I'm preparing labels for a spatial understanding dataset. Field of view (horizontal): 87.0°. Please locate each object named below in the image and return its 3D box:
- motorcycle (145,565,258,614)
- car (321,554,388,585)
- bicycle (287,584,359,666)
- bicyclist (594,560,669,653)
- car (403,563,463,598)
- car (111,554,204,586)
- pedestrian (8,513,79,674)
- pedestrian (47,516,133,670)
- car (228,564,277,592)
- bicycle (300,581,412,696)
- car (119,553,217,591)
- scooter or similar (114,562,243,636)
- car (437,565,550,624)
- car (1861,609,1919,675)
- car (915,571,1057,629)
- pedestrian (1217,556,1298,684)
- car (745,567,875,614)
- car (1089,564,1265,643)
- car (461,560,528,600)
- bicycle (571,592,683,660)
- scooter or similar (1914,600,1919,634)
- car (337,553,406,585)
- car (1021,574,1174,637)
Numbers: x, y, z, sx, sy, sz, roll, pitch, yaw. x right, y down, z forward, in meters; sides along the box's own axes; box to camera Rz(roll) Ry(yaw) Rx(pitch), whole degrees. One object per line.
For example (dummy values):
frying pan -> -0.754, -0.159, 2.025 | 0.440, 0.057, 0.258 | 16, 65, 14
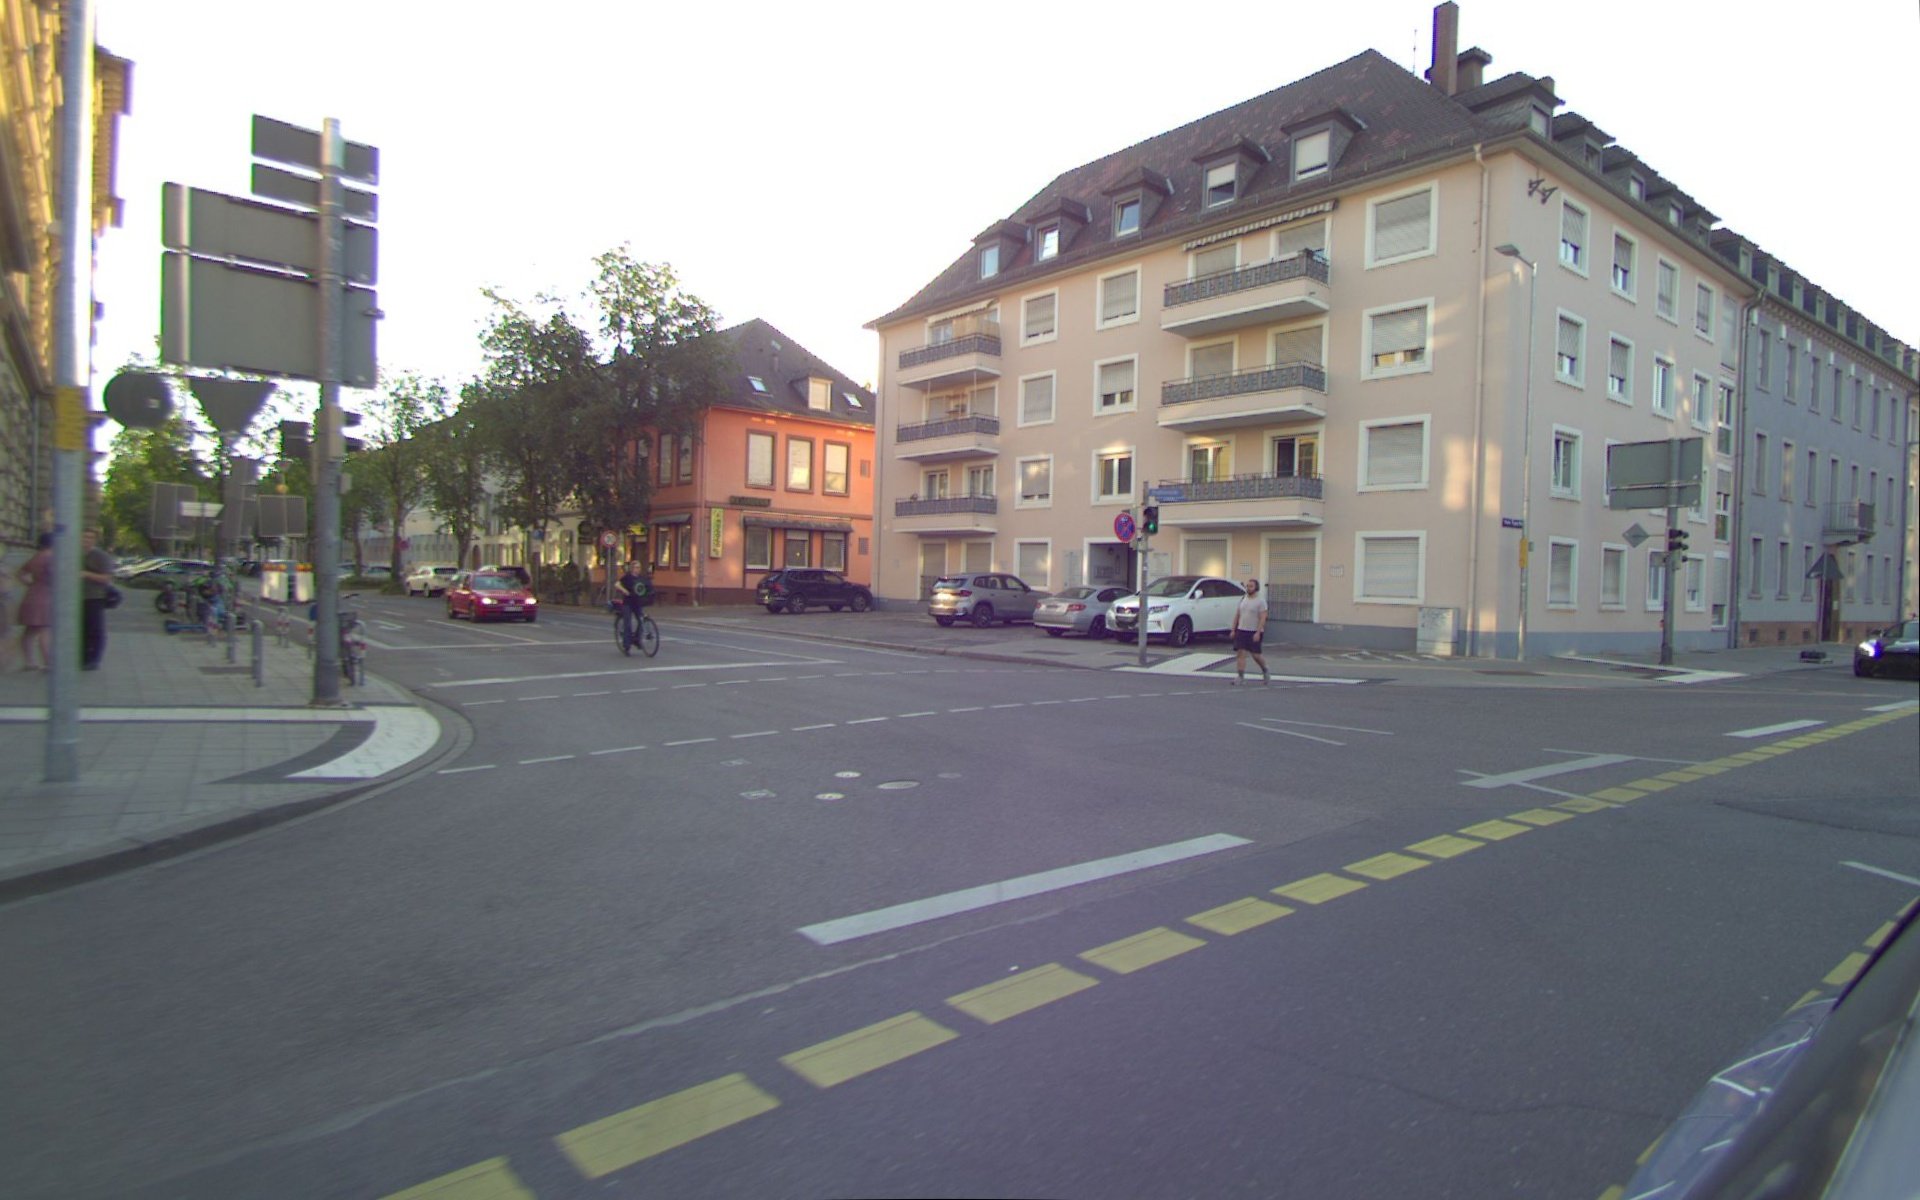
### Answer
motorcycle -> -20.552, -0.277, 27.478 | 2.264, 1.218, 0.887 | 2, 1, -17
car -> -43.131, -2.147, 72.106 | 3.924, 2.039, 2.000 | 1, 1, -35
bicycle -> -9.860, 0.363, 15.637 | 0.683, 1.159, 1.727 | 4, -1, -39
bicyclist -> -6.063, 0.104, 18.659 | 0.953, 1.653, 1.043 | 1, 1, -43
car -> -29.058, -1.083, 55.724 | 1.966, 1.816, 3.902 | 1, 1, -43
car -> -46.021, -1.682, 58.044 | 4.091, 1.705, 1.997 | 1, 1, -41
pedestrian -> -10.928, -0.081, 12.075 | 0.443, 1.881, 0.426 | 2, 1, 11
pedestrian -> -10.902, -0.083, 12.692 | 0.609, 1.881, 0.537 | 1, 1, -12
car -> -42.388, -1.354, 60.586 | 1.977, 1.641, 4.012 | -2, 3, -41
bicycle -> -7.623, 0.455, 12.718 | 0.846, 1.222, 2.056 | 6, 0, -39
car -> -38.580, -1.357, 49.350 | 3.655, 1.727, 1.883 | 1, 1, -39
scooter or similar -> -14.770, -0.023, 19.190 | 1.875, 1.343, 0.924 | 1, 1, -37
car -> -13.707, -0.222, 29.645 | 1.977, 1.529, 4.012 | -2, 4, -41
car -> 21.143, 0.876, 21.610 | 4.278, 1.317, 2.183 | 1, -1, -39
car -> 0.809, -0.062, 30.392 | 3.985, 1.565, 2.009 | -2, 3, -41
pedestrian -> 4.918, 0.320, 16.748 | 0.973, 2.039, 0.789 | 1, 0, -22
car -> -5.576, -0.392, 37.845 | 4.443, 1.616, 2.009 | -2, 3, -41
car -> 5.432, 0.076, 25.063 | 4.397, 1.771, 1.997 | 1, 1, -41
car -> -22.943, -1.002, 49.771 | 1.965, 1.816, 3.904 | 1, 1, -41
bicycle -> -6.190, 0.446, 18.705 | 0.960, 1.119, 2.579 | 1, 1, -43
scooter or similar -> 42.401, 0.763, 44.006 | 1.637, 1.476, 0.729 | 1, 3, -27
car -> -40.387, -2.110, 69.485 | 3.924, 2.039, 2.000 | 1, 1, -35
car -> 3.714, 0.139, 27.031 | 3.958, 1.532, 1.923 | 1, 1, -41
